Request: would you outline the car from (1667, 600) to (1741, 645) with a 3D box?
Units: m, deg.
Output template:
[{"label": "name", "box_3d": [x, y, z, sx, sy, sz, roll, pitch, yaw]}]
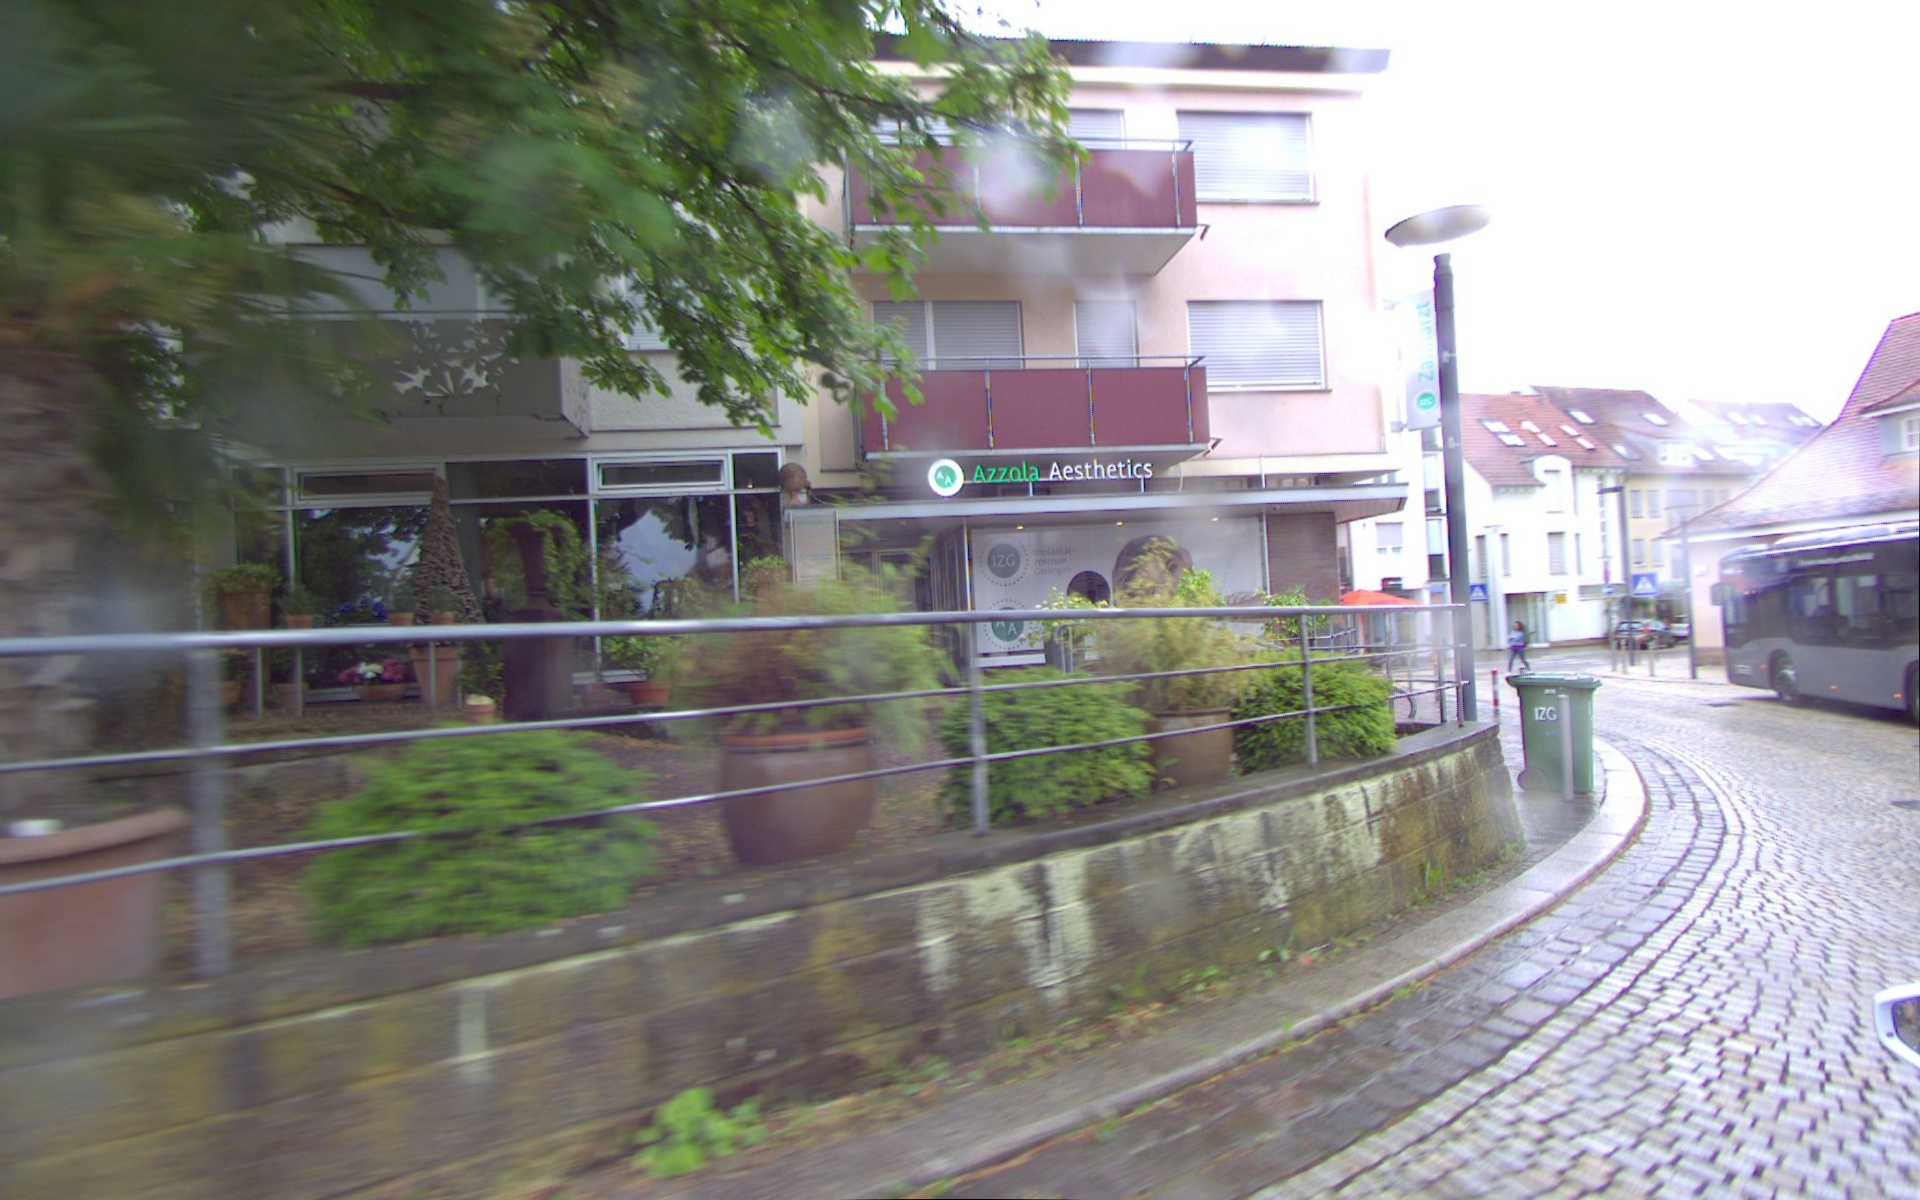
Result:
[{"label": "car", "box_3d": [38.396, 1.161, 51.822, 3.961, 2.040, 1.980, -4, 1, -37]}]

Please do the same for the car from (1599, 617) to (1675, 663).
[{"label": "car", "box_3d": [33.029, 1.936, 48.966, 3.966, 1.889, 1.978, -4, 1, -40]}]

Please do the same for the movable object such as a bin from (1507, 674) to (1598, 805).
[{"label": "movable object such as a bin", "box_3d": [5.421, 1.248, 9.199, 0.669, 1.101, 0.538, -2, 0, 32]}]

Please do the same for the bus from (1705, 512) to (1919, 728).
[{"label": "bus", "box_3d": [15.407, 0.246, 15.684, 2.734, 3.029, 10.559, -3, -2, 18]}]

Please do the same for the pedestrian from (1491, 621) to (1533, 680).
[{"label": "pedestrian", "box_3d": [17.221, 1.556, 31.332, 0.772, 1.756, 0.761, -4, 1, -18]}]
